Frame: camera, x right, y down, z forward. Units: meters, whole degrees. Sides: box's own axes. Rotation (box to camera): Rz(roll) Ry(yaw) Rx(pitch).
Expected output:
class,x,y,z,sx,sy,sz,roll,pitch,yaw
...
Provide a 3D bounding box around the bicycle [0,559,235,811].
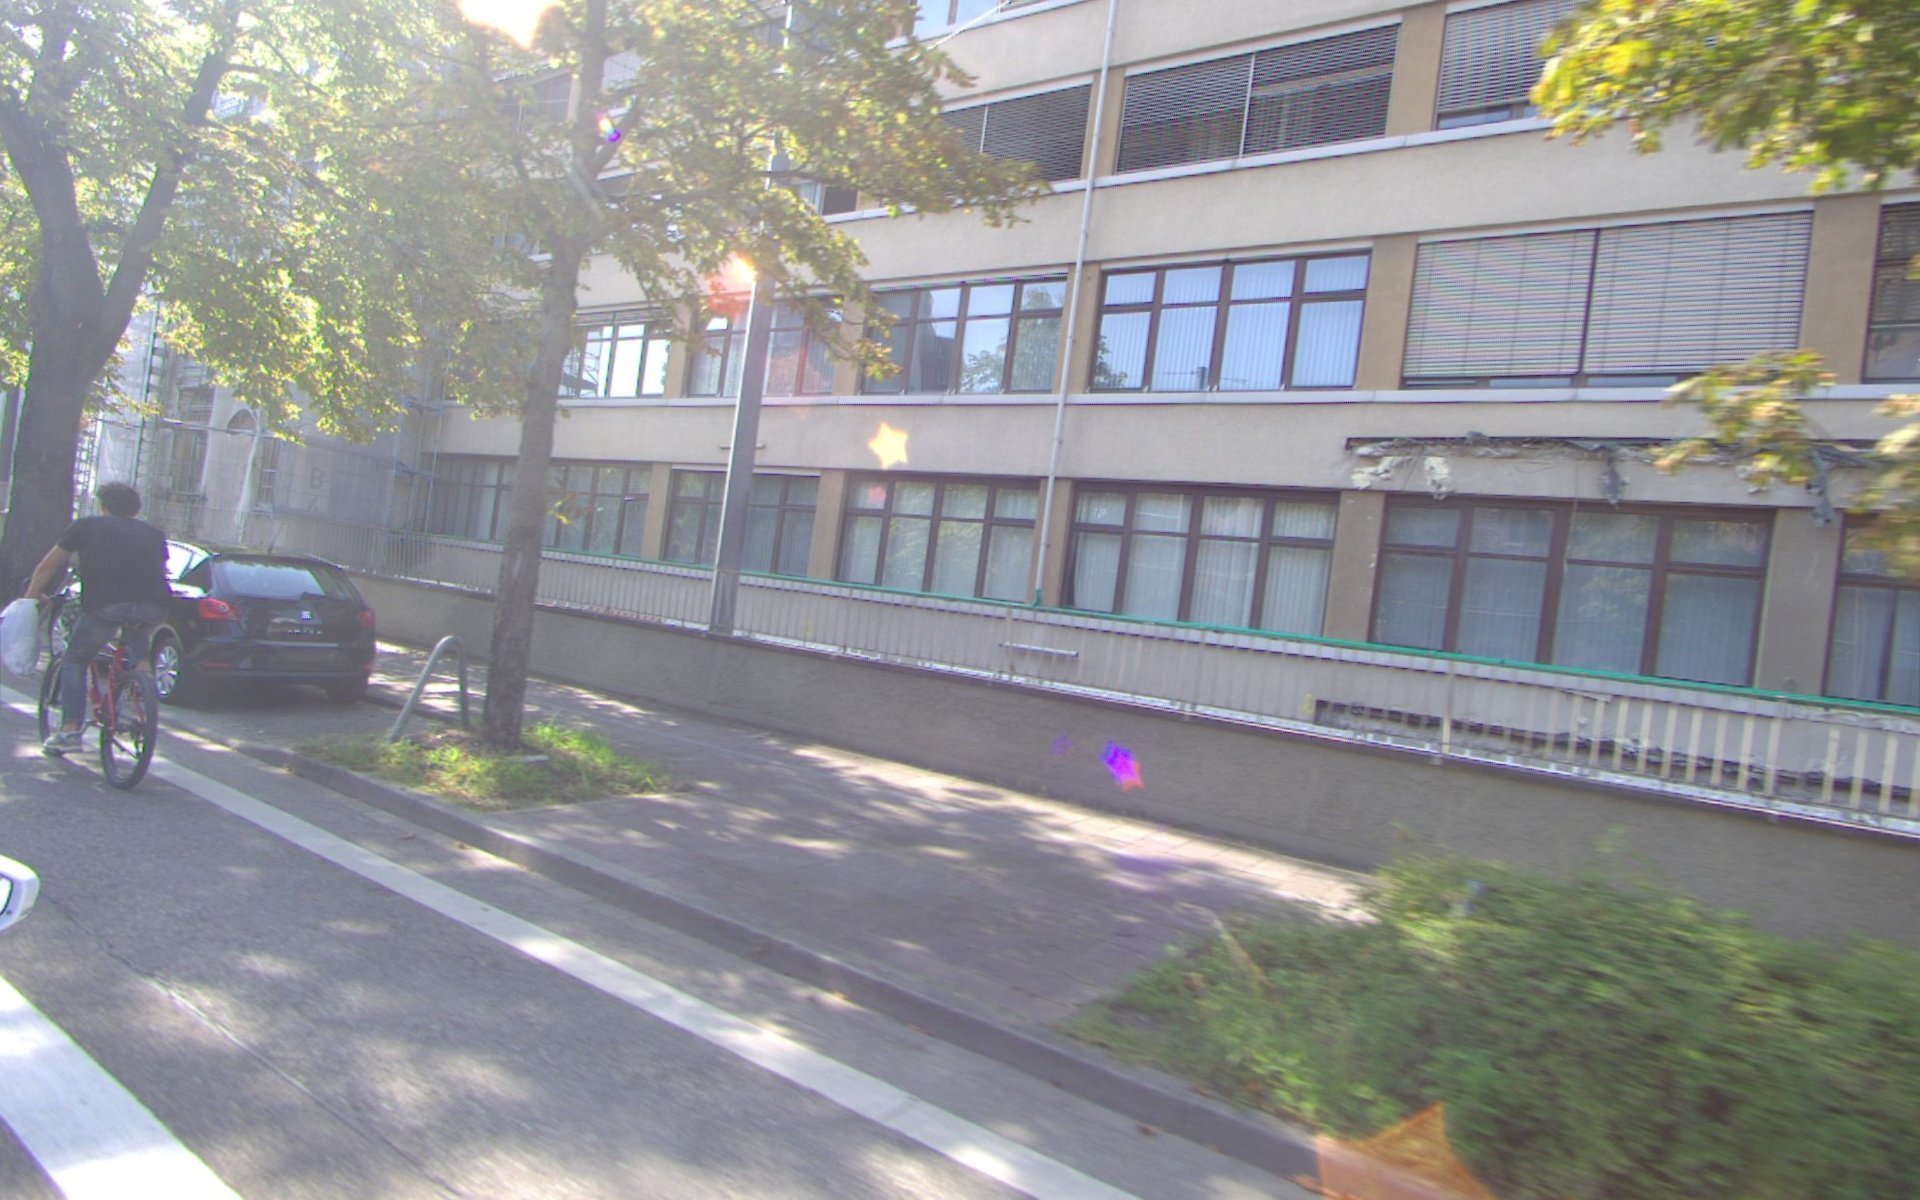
class,x,y,z,sx,sy,sz,roll,pitch,yaw
bicycle,-5.341,0.425,6.038,2.268,1.158,0.788,7,-1,35

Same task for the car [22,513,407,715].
class,x,y,z,sx,sy,sz,roll,pitch,yaw
car,-7.529,0.086,10.067,4.017,1.446,1.648,7,0,32

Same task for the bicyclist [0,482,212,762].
class,x,y,z,sx,sy,sz,roll,pitch,yaw
bicyclist,-5.236,0.116,6.003,1.098,1.487,0.788,7,-1,34

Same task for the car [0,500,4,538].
class,x,y,z,sx,sy,sz,roll,pitch,yaw
car,-17.165,-1.049,16.217,3.717,1.530,1.647,7,0,33
